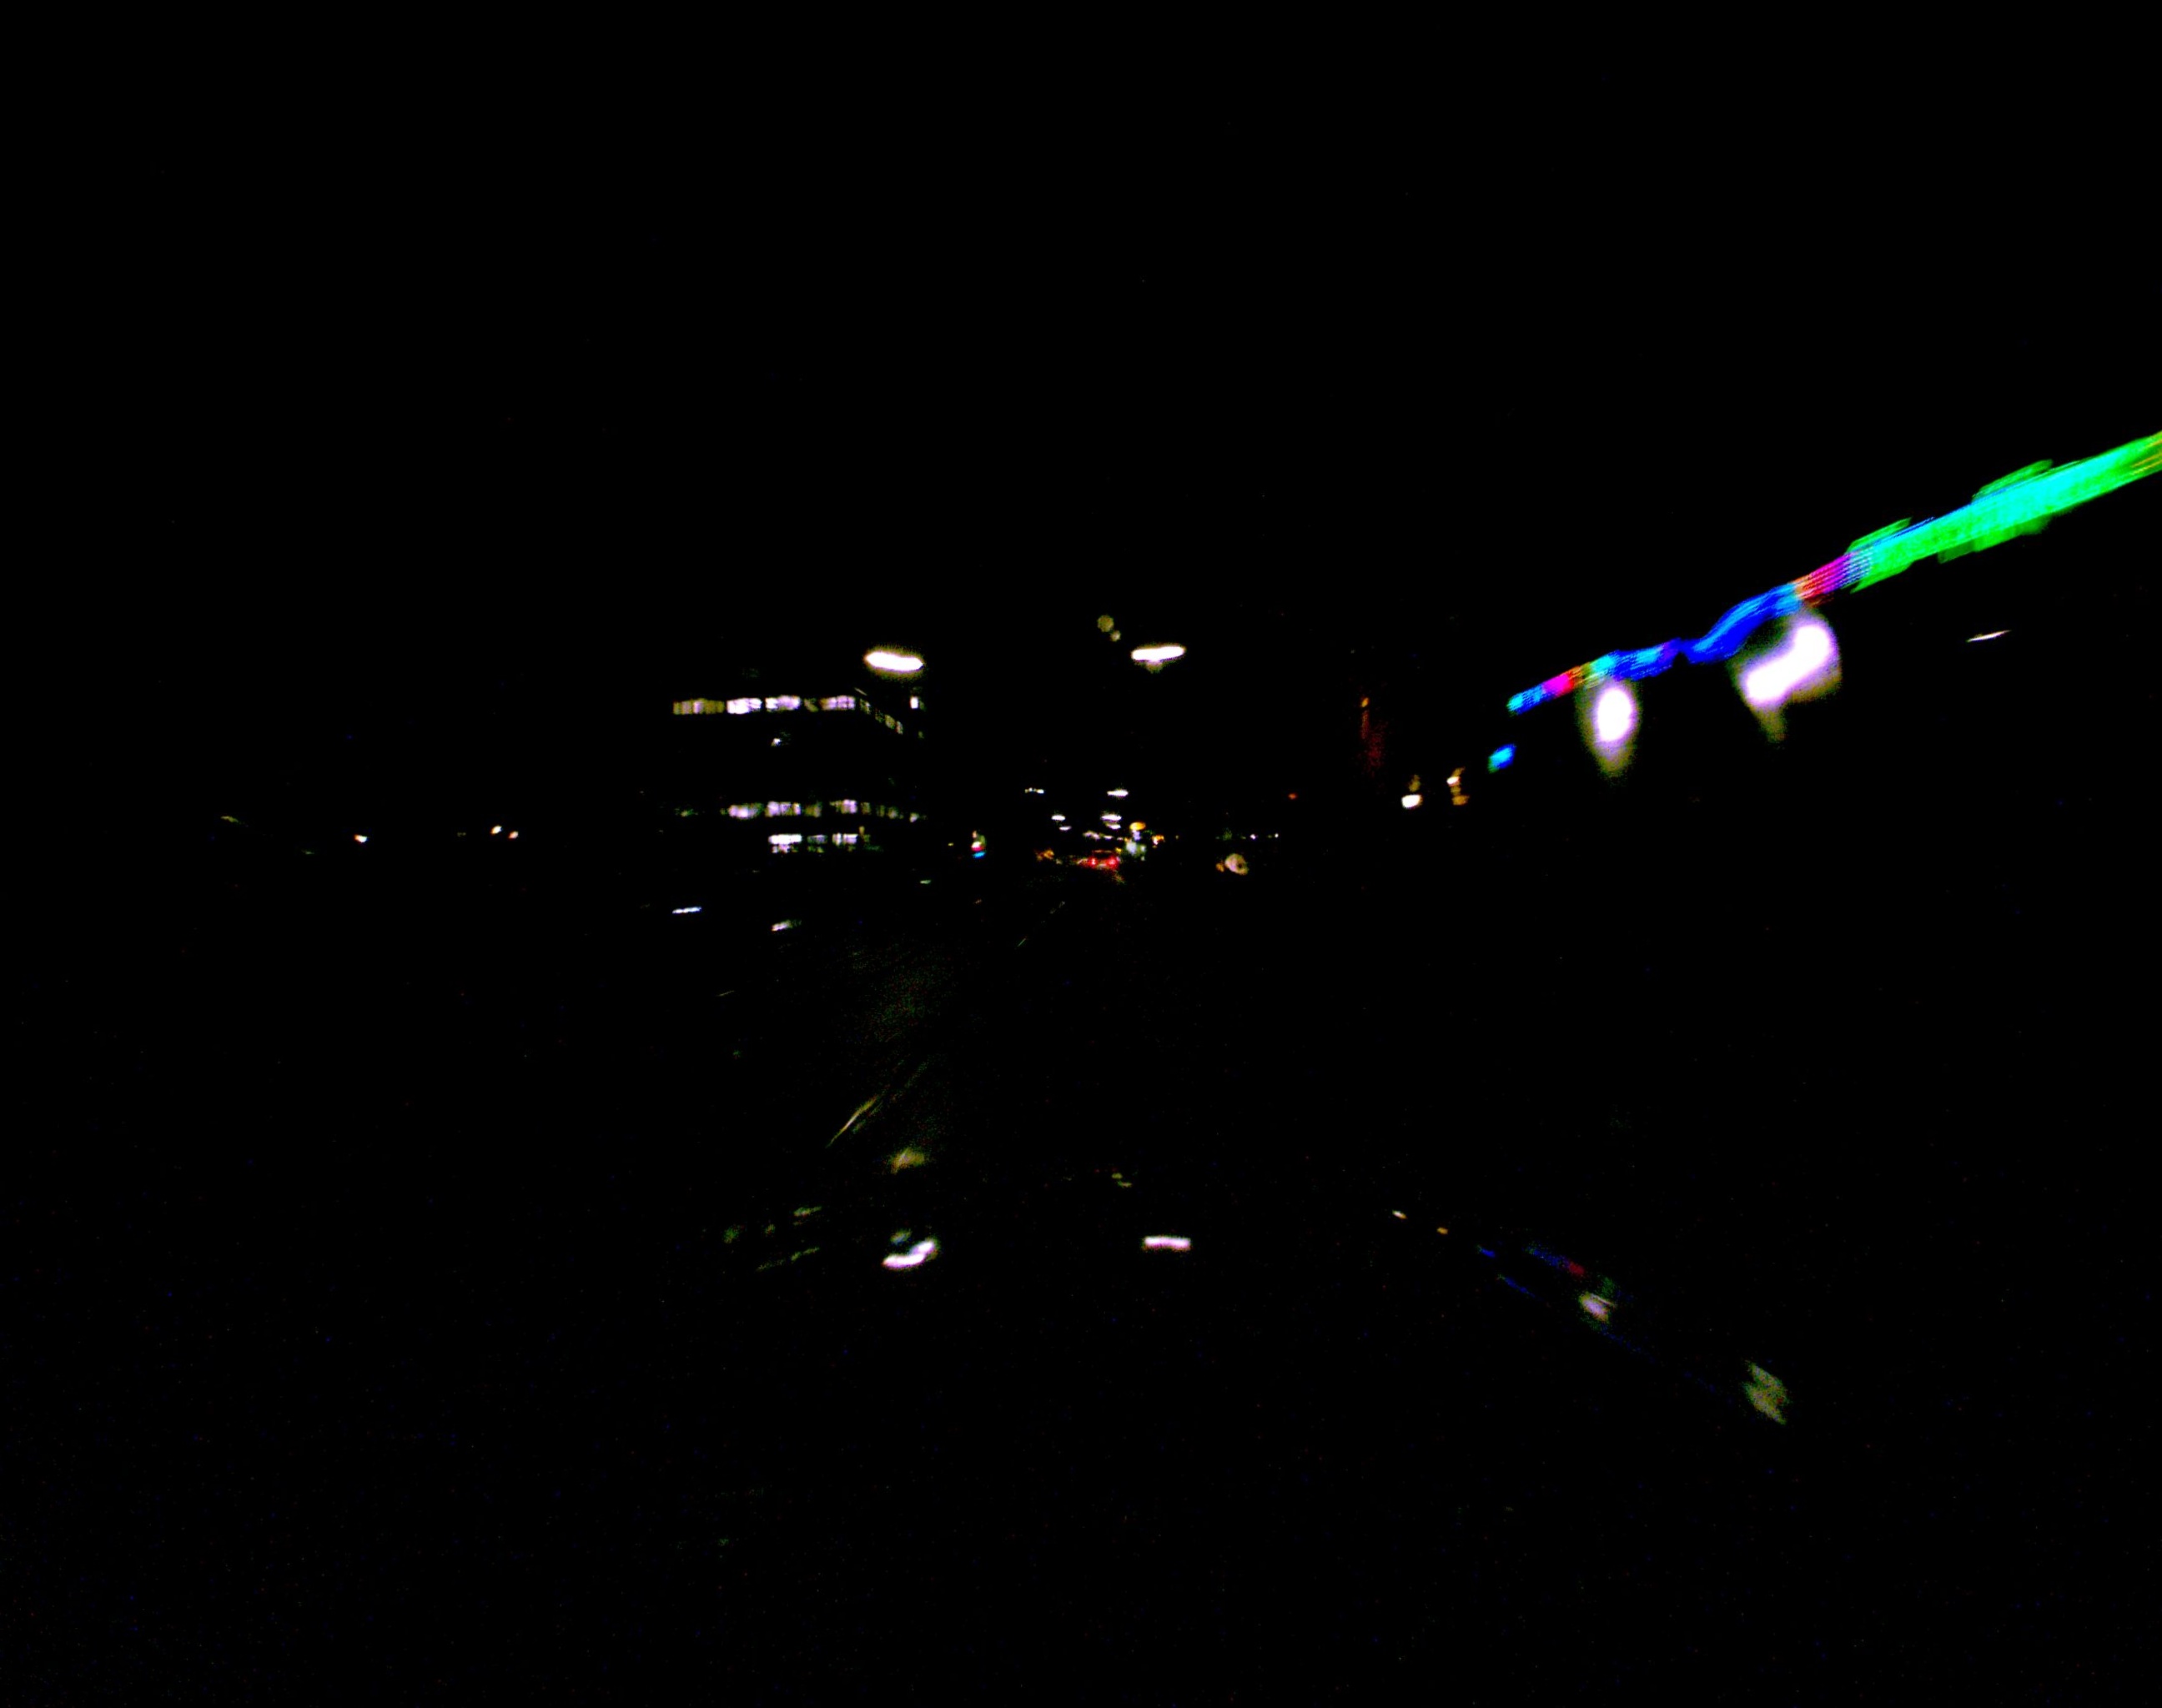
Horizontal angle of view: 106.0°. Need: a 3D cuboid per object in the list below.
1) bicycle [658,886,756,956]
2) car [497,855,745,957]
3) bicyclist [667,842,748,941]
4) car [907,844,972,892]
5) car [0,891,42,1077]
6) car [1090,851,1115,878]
[{"bbox_3d":[-6.650,1.159,14.606,0.779,1.082,1.919,-3,-1,2],"label":"bicycle"},{"bbox_3d":[-8.591,0.887,15.822,1.961,1.655,4.604,1,-1,3],"label":"car"},{"bbox_3d":[-6.676,0.649,14.618,0.779,1.655,1.206,-3,-1,2],"label":"bicyclist"},{"bbox_3d":[-8.058,0.736,47.105,2.176,2.591,6.398,-1,0,4],"label":"car"},{"bbox_3d":[-9.146,1.029,4.542,1.686,1.421,3.912,-2,0,-1],"label":"car"},{"bbox_3d":[1.950,0.960,75.009,2.237,2.361,4.393,-1,-1,0],"label":"car"}]
